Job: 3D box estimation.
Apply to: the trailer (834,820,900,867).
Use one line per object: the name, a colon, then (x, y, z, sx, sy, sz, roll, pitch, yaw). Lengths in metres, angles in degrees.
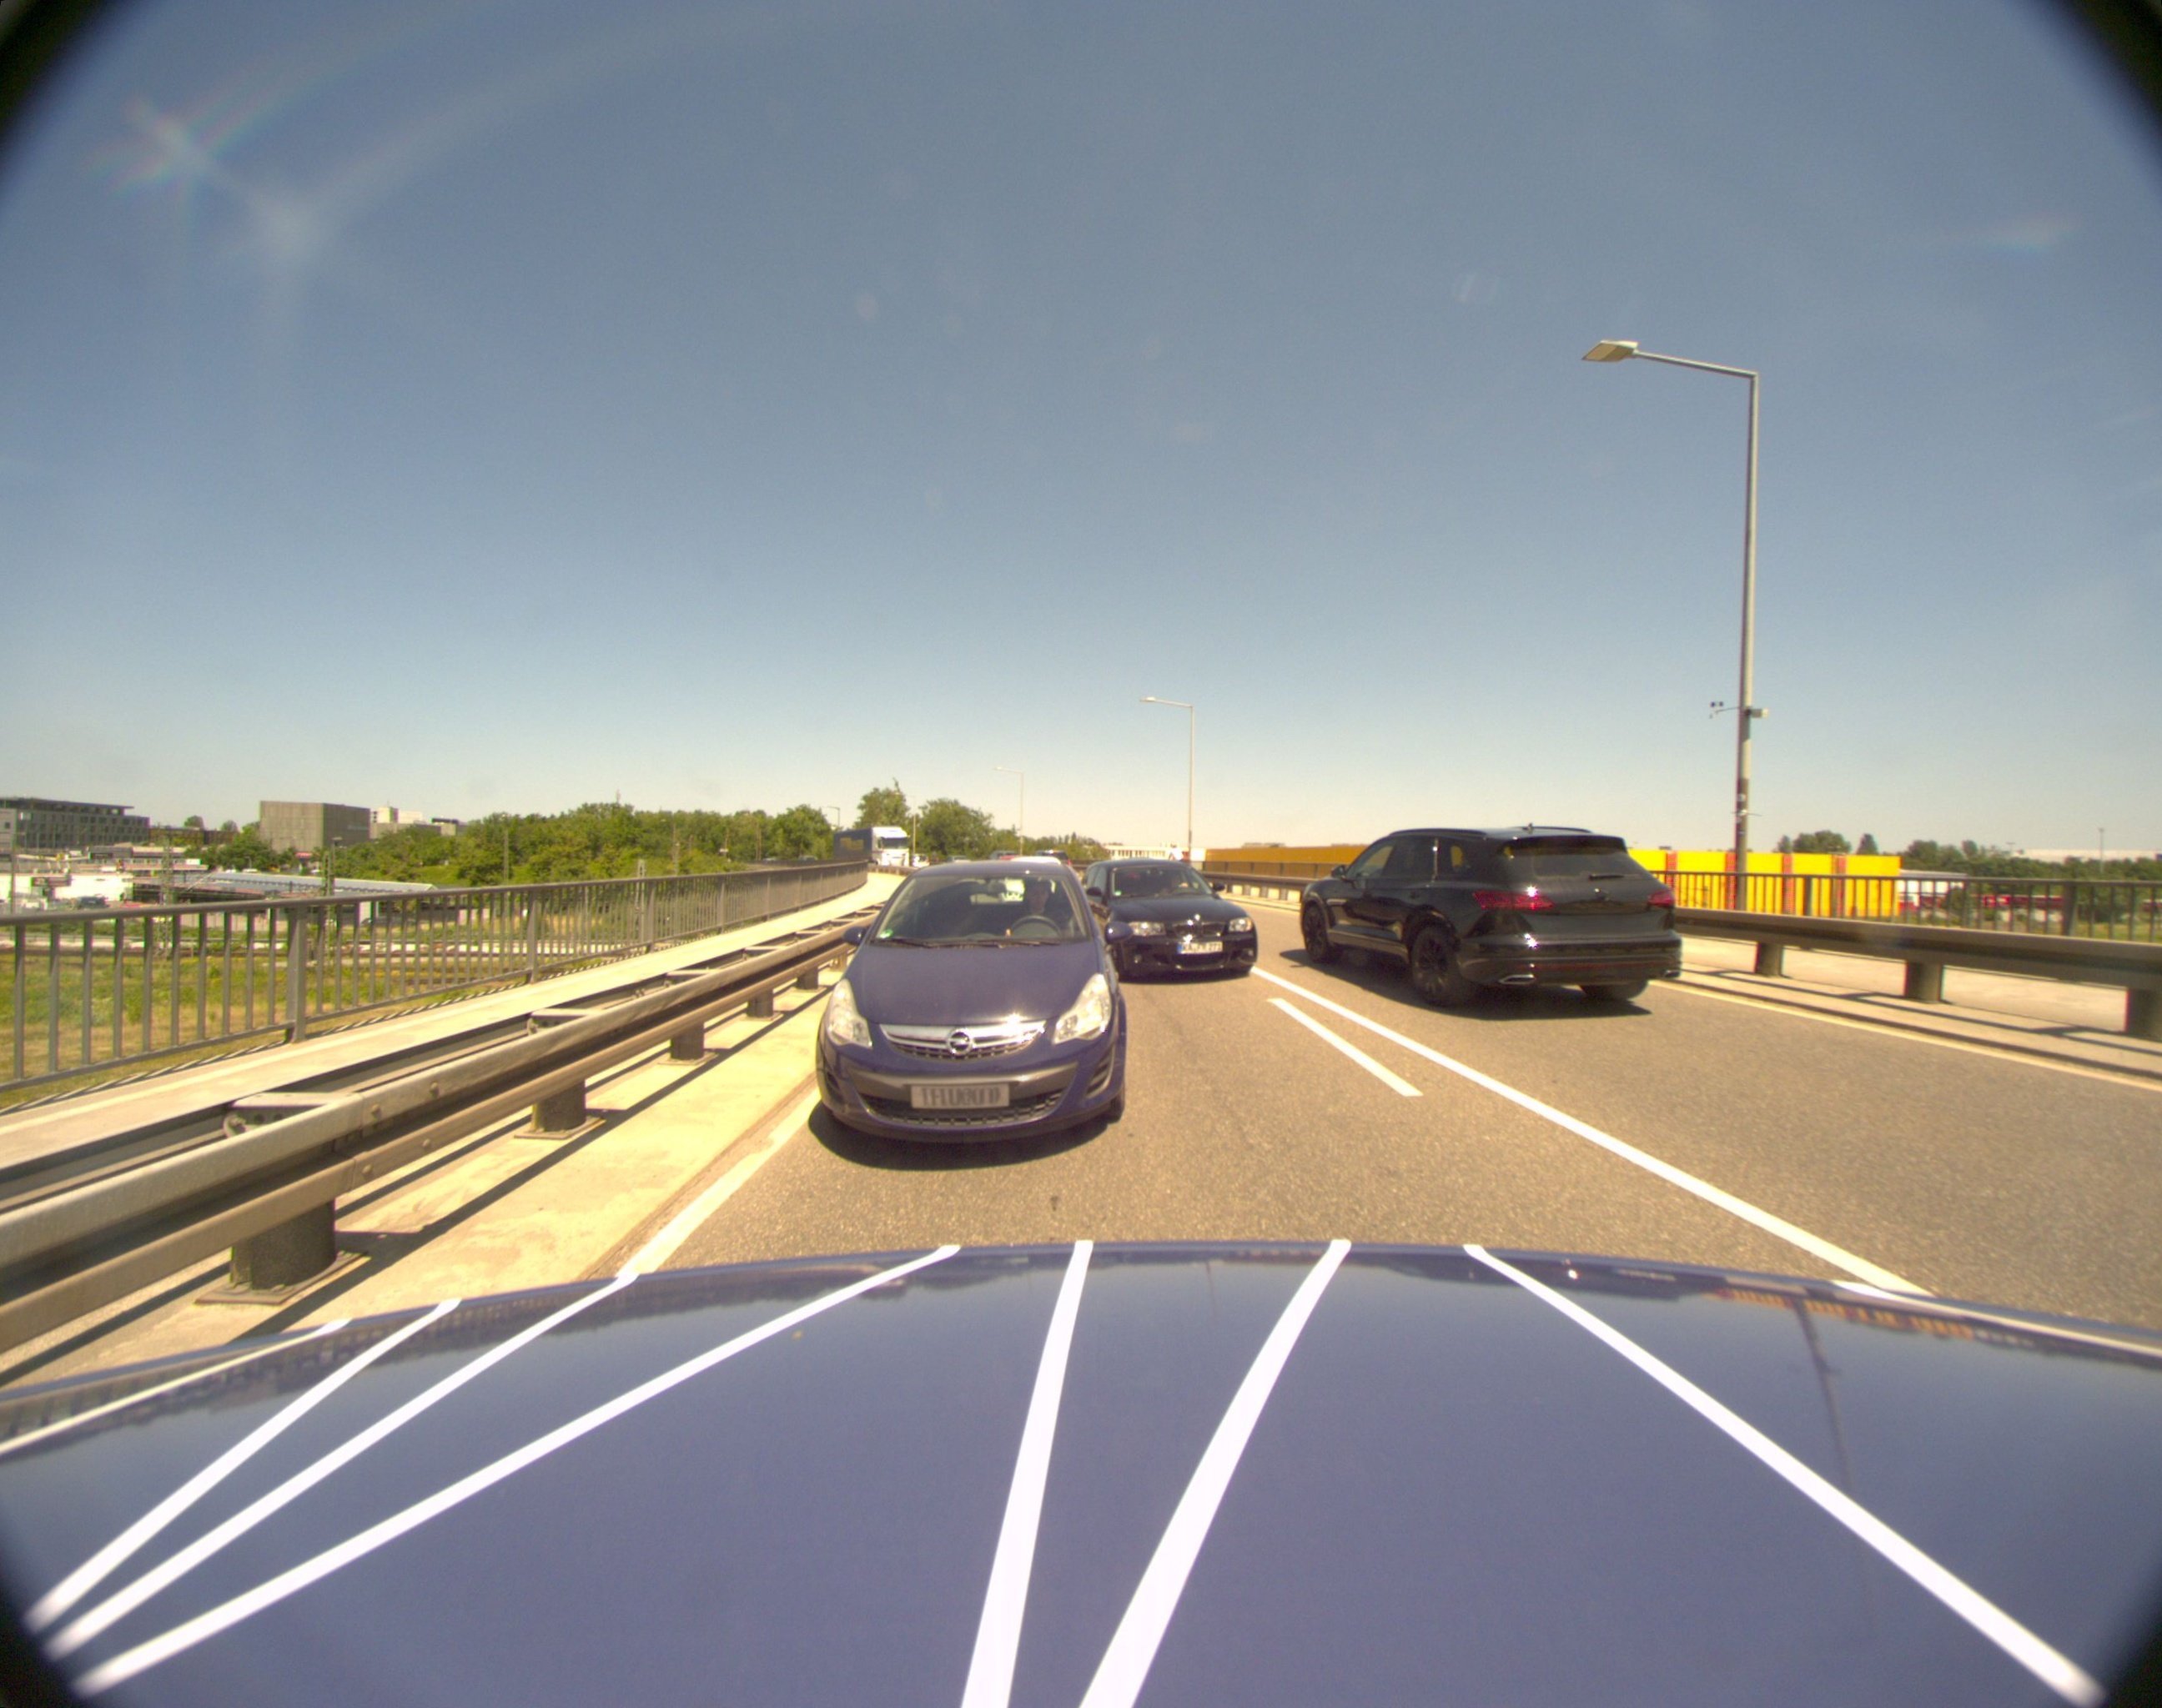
trailer: (-21.278, -1.012, 74.767, 2.706, 4.211, 12.681, -3, 2, -32)

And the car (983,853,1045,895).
car: (-2.645, 0.699, 28.930, 1.796, 1.446, 4.518, -1, 0, -12)

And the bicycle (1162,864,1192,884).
bicycle: (4.278, 0.881, 33.935, 0.590, 0.828, 1.988, -1, 1, -15)

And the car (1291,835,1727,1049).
car: (4.062, 0.681, 8.344, 1.972, 1.663, 4.611, -1, 0, -4)

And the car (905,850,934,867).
car: (-15.752, 0.408, 73.978, 1.745, 1.571, 4.167, -1, 1, -28)

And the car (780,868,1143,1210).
car: (-0.669, 0.897, 5.563, 1.645, 1.431, 3.998, -2, 1, -4)

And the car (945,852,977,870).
car: (-9.822, 0.576, 61.918, 1.704, 1.368, 3.992, -1, 1, -23)

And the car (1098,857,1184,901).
car: (1.914, 0.776, 25.468, 1.684, 1.300, 3.968, -1, 0, -14)

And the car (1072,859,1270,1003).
car: (0.972, 0.851, 10.562, 1.795, 1.447, 4.520, -1, 1, -5)

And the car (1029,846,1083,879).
car: (-1.344, 0.408, 39.319, 1.713, 1.617, 4.245, 0, 1, -17)

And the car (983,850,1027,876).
car: (-5.084, 0.556, 50.496, 1.809, 1.631, 4.292, -1, 1, -21)

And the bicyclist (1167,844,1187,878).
bicyclist: (4.269, 0.310, 33.918, 0.585, 1.512, 0.895, -1, 1, -15)

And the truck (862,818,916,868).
truck: (-17.391, -0.988, 68.443, 2.700, 4.205, 6.822, -3, 2, -31)

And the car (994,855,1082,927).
car: (-1.188, 0.806, 18.771, 1.795, 1.447, 4.519, -2, 1, -8)
